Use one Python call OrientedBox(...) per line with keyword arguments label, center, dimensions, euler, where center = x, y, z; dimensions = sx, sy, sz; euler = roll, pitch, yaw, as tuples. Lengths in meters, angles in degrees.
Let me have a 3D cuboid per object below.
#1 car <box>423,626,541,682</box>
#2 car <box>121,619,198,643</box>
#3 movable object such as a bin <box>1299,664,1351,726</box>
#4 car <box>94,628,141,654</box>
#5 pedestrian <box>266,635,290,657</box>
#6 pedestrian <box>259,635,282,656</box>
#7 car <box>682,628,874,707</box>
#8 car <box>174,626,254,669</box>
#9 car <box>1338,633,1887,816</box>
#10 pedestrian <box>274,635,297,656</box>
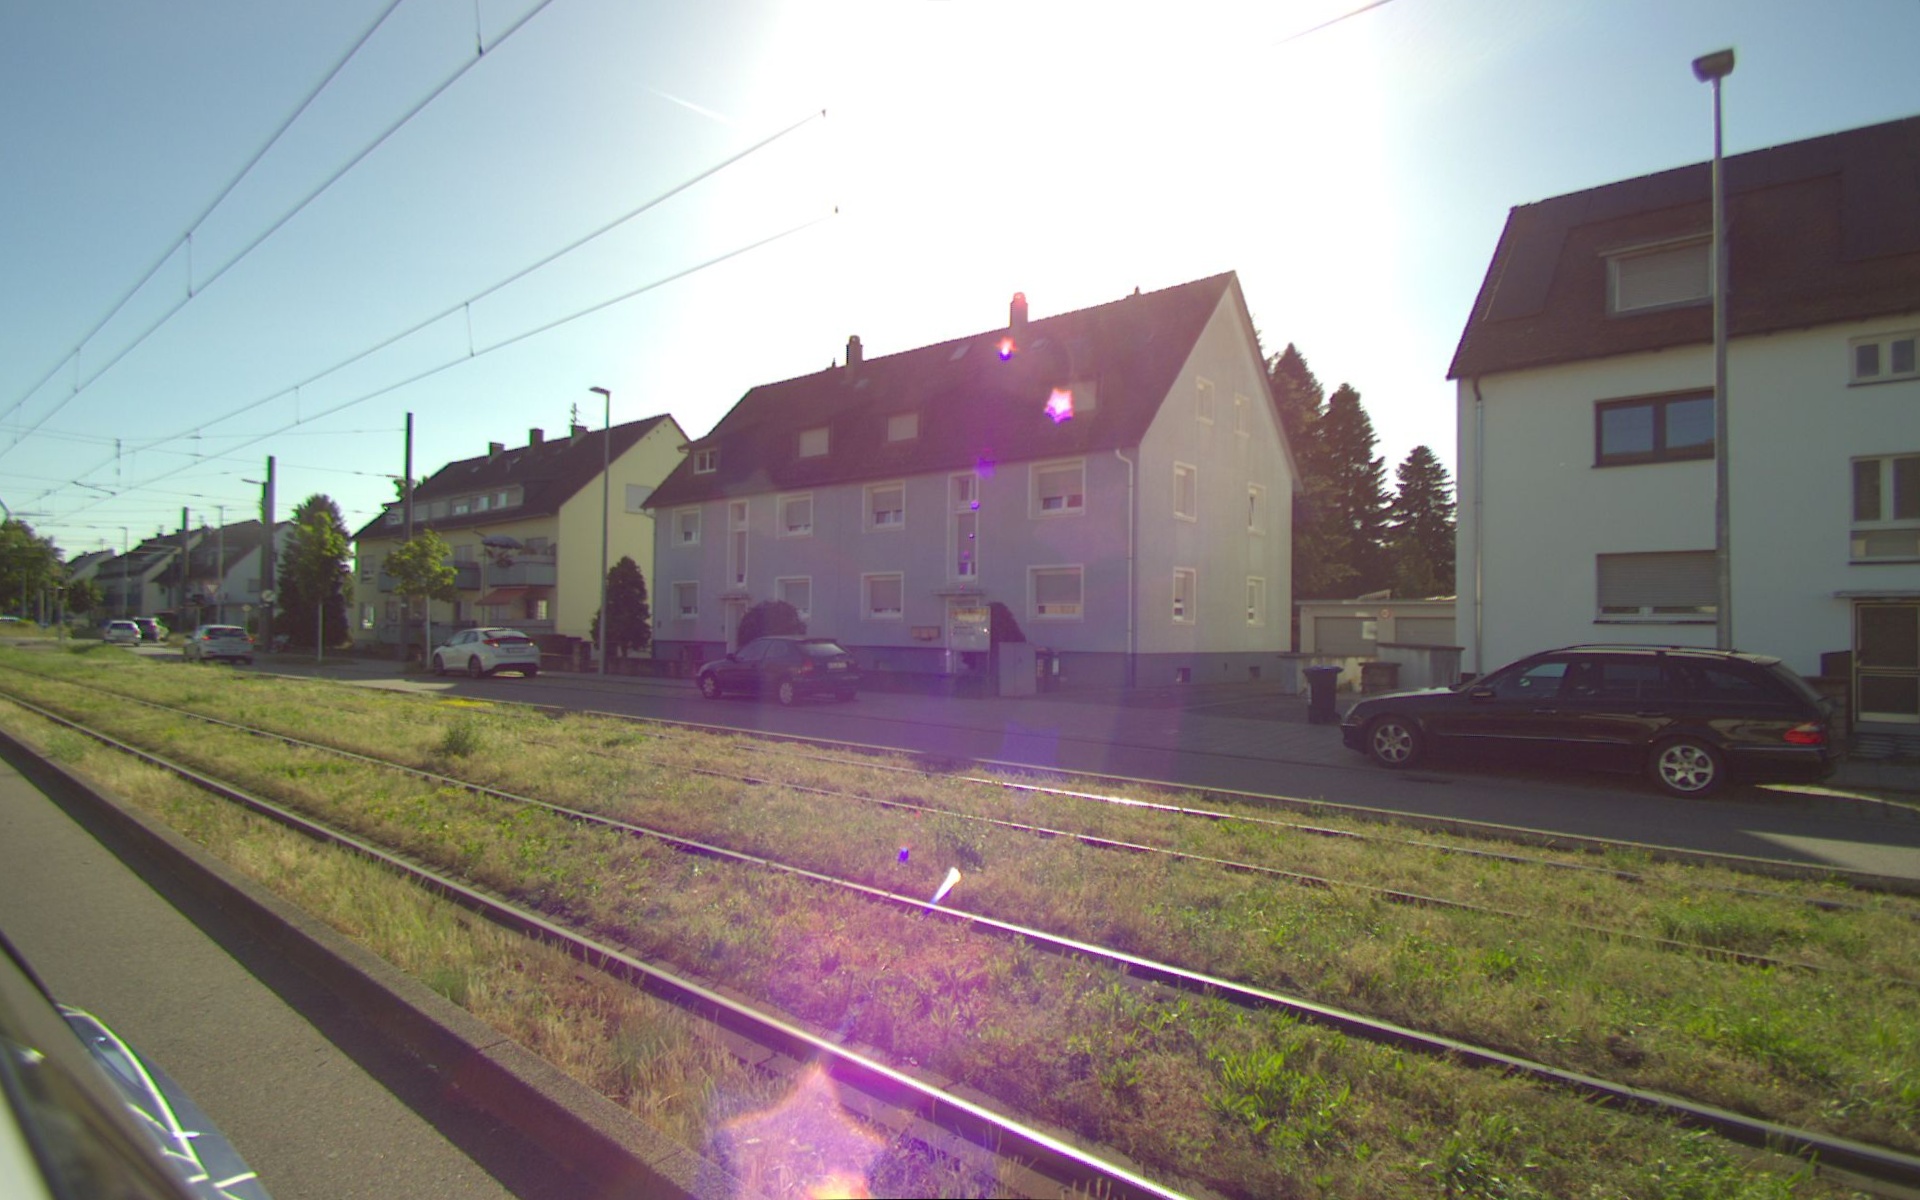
OrientedBox(label="car", center=(-14.244, 1.567, 30.061), dimensions=(4.213, 1.529, 1.674), euler=(-1, -3, 42))
OrientedBox(label="car", center=(-53.584, 2.078, 67.834), dimensions=(1.807, 1.591, 3.994), euler=(0, -2, 4))
OrientedBox(label="movable object such as a bin", center=(5.859, 1.515, 16.257), dimensions=(0.703, 0.934, 0.384), euler=(0, -2, 40))
OrientedBox(label="car", center=(-47.993, 2.314, 57.652), dimensions=(3.658, 1.422, 1.533), euler=(-1, -3, 42))
OrientedBox(label="pedestrian", center=(-34.599, 2.313, 51.345), dimensions=(0.619, 1.073, 0.818), euler=(2, -1, 8))
OrientedBox(label="pedestrian", center=(-35.316, 2.314, 51.826), dimensions=(0.687, 1.054, 0.809), euler=(0, -2, 38))
OrientedBox(label="car", center=(-3.861, 1.328, 21.090), dimensions=(4.165, 1.474, 1.771), euler=(-1, -3, 42))
OrientedBox(label="car", center=(-28.965, 1.804, 39.256), dimensions=(4.024, 1.502, 1.689), euler=(1, -2, 42))
OrientedBox(label="car", center=(6.996, 1.175, 11.290), dimensions=(4.882, 1.534, 1.856), euler=(-1, -2, 44))
OrientedBox(label="pedestrian", center=(-33.987, 2.304, 50.970), dimensions=(0.590, 1.013, 0.720), euler=(2, -1, 17))
